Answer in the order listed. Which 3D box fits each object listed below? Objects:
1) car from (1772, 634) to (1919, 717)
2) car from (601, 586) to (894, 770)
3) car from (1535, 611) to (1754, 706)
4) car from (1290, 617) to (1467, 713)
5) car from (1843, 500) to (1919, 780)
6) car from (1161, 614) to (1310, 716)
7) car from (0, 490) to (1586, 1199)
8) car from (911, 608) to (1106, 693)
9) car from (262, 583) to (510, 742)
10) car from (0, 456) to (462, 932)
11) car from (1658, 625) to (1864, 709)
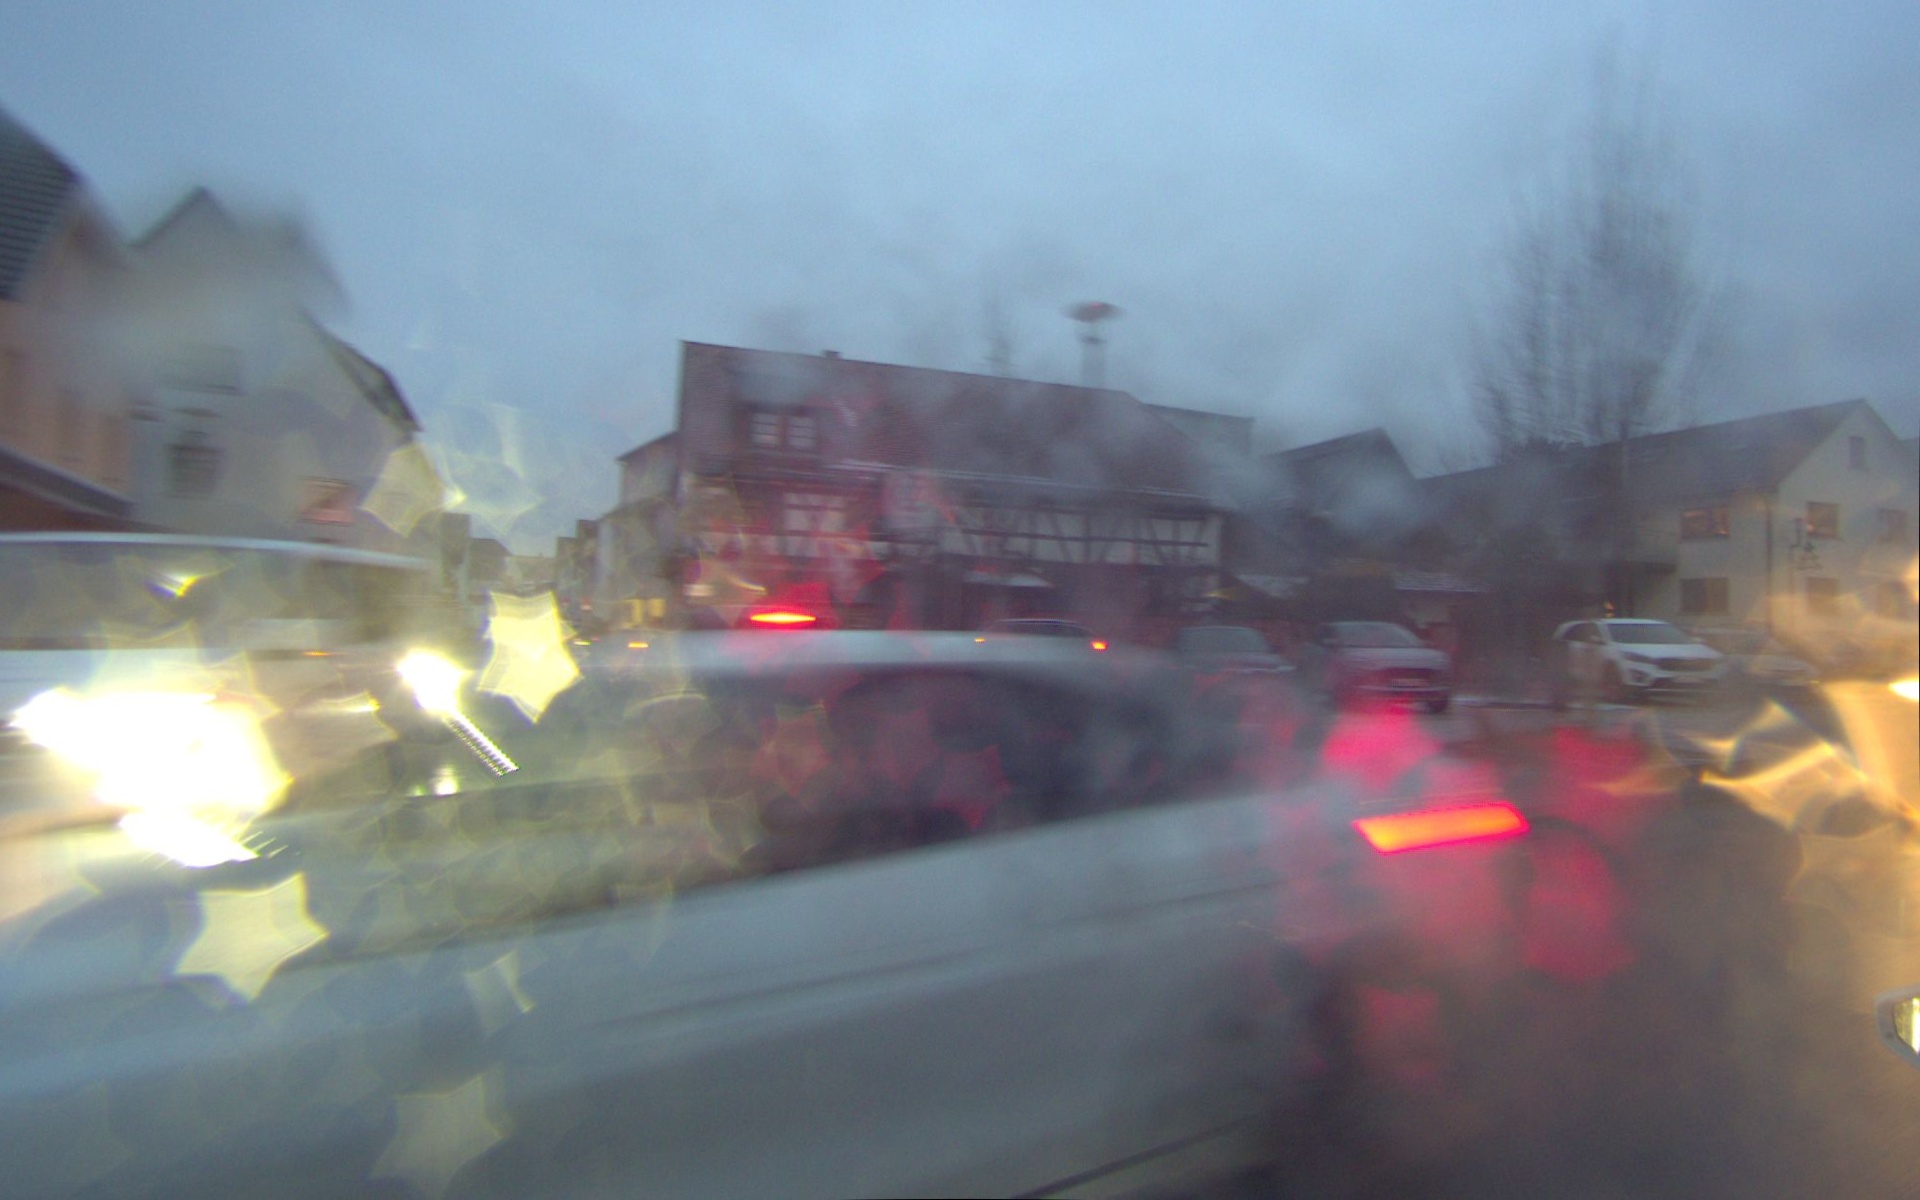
[{"bbox_3d":[19.364,1.521,21.194,1.960,1.550,4.002,0,-1,14],"label":"car"},{"bbox_3d":[-2.637,0.772,11.493,2.129,1.654,4.417,2,-2,-28],"label":"car"},{"bbox_3d":[13.755,1.149,20.579,1.947,1.675,4.660,1,-2,10],"label":"car"},{"bbox_3d":[7.224,1.079,17.767,1.722,1.478,4.076,1,-2,5],"label":"car"},{"bbox_3d":[11.608,0.401,9.903,6.060,2.523,2.188,1,-1,-26],"label":"car"},{"bbox_3d":[4.390,1.015,16.572,1.727,1.478,3.936,0,-2,6],"label":"car"},{"bbox_3d":[-0.536,0.690,2.592,4.496,1.538,1.817,1,-2,-31],"label":"car"},{"bbox_3d":[1.060,1.099,22.180,3.939,1.751,1.713,2,0,-20],"label":"car"},{"bbox_3d":[-7.145,0.775,13.073,1.969,1.657,4.750,0,-3,-19],"label":"car"},{"bbox_3d":[-5.101,0.391,6.834,1.958,1.972,5.761,0,0,-15],"label":"car"},{"bbox_3d":[17.021,1.407,21.623,1.686,1.603,4.117,1,-3,10],"label":"car"}]
